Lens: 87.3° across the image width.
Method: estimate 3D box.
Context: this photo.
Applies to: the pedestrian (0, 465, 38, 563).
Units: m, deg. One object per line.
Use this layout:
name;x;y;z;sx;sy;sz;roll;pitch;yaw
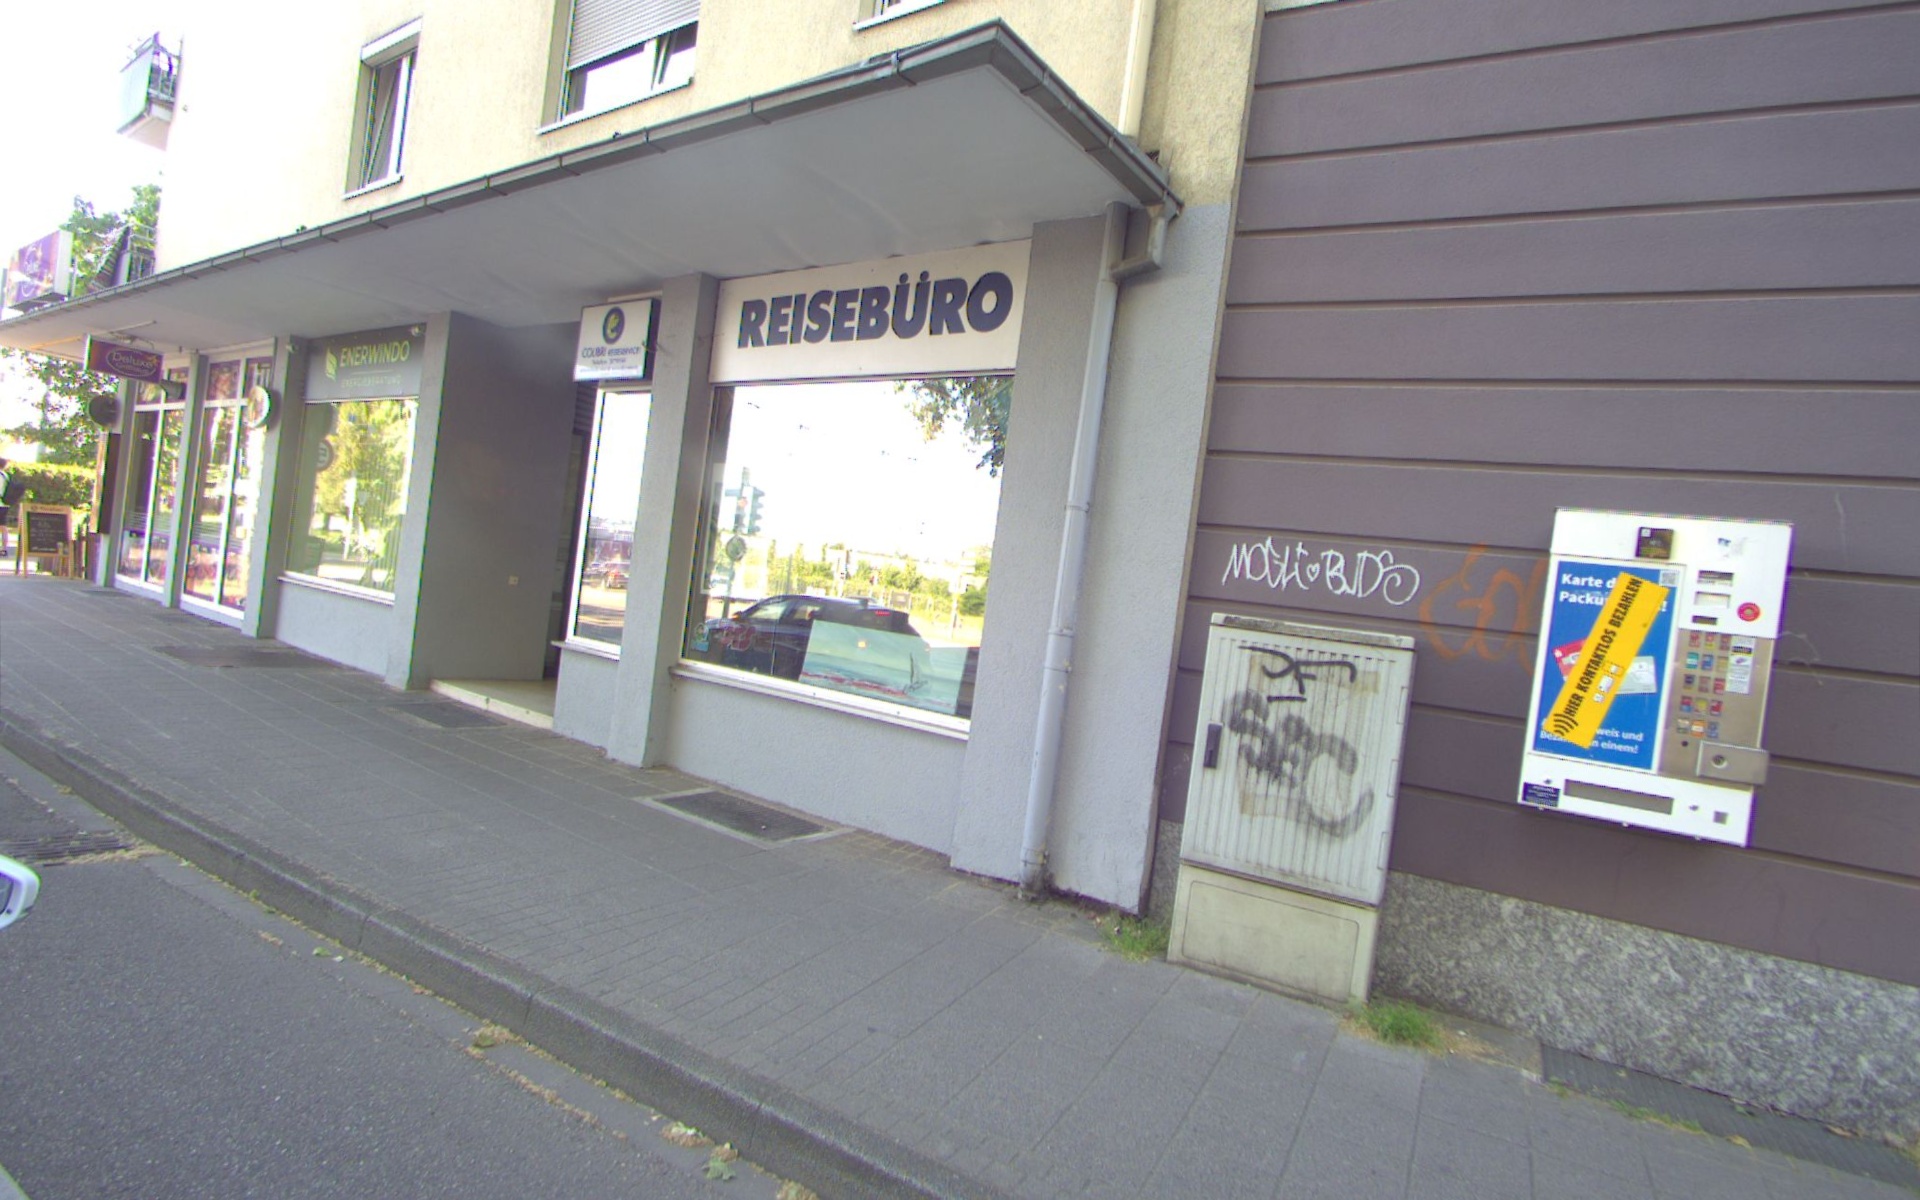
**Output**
pedestrian;-18.870;-1.715;19.739;0.731;1.841;0.635;7;-1;3
